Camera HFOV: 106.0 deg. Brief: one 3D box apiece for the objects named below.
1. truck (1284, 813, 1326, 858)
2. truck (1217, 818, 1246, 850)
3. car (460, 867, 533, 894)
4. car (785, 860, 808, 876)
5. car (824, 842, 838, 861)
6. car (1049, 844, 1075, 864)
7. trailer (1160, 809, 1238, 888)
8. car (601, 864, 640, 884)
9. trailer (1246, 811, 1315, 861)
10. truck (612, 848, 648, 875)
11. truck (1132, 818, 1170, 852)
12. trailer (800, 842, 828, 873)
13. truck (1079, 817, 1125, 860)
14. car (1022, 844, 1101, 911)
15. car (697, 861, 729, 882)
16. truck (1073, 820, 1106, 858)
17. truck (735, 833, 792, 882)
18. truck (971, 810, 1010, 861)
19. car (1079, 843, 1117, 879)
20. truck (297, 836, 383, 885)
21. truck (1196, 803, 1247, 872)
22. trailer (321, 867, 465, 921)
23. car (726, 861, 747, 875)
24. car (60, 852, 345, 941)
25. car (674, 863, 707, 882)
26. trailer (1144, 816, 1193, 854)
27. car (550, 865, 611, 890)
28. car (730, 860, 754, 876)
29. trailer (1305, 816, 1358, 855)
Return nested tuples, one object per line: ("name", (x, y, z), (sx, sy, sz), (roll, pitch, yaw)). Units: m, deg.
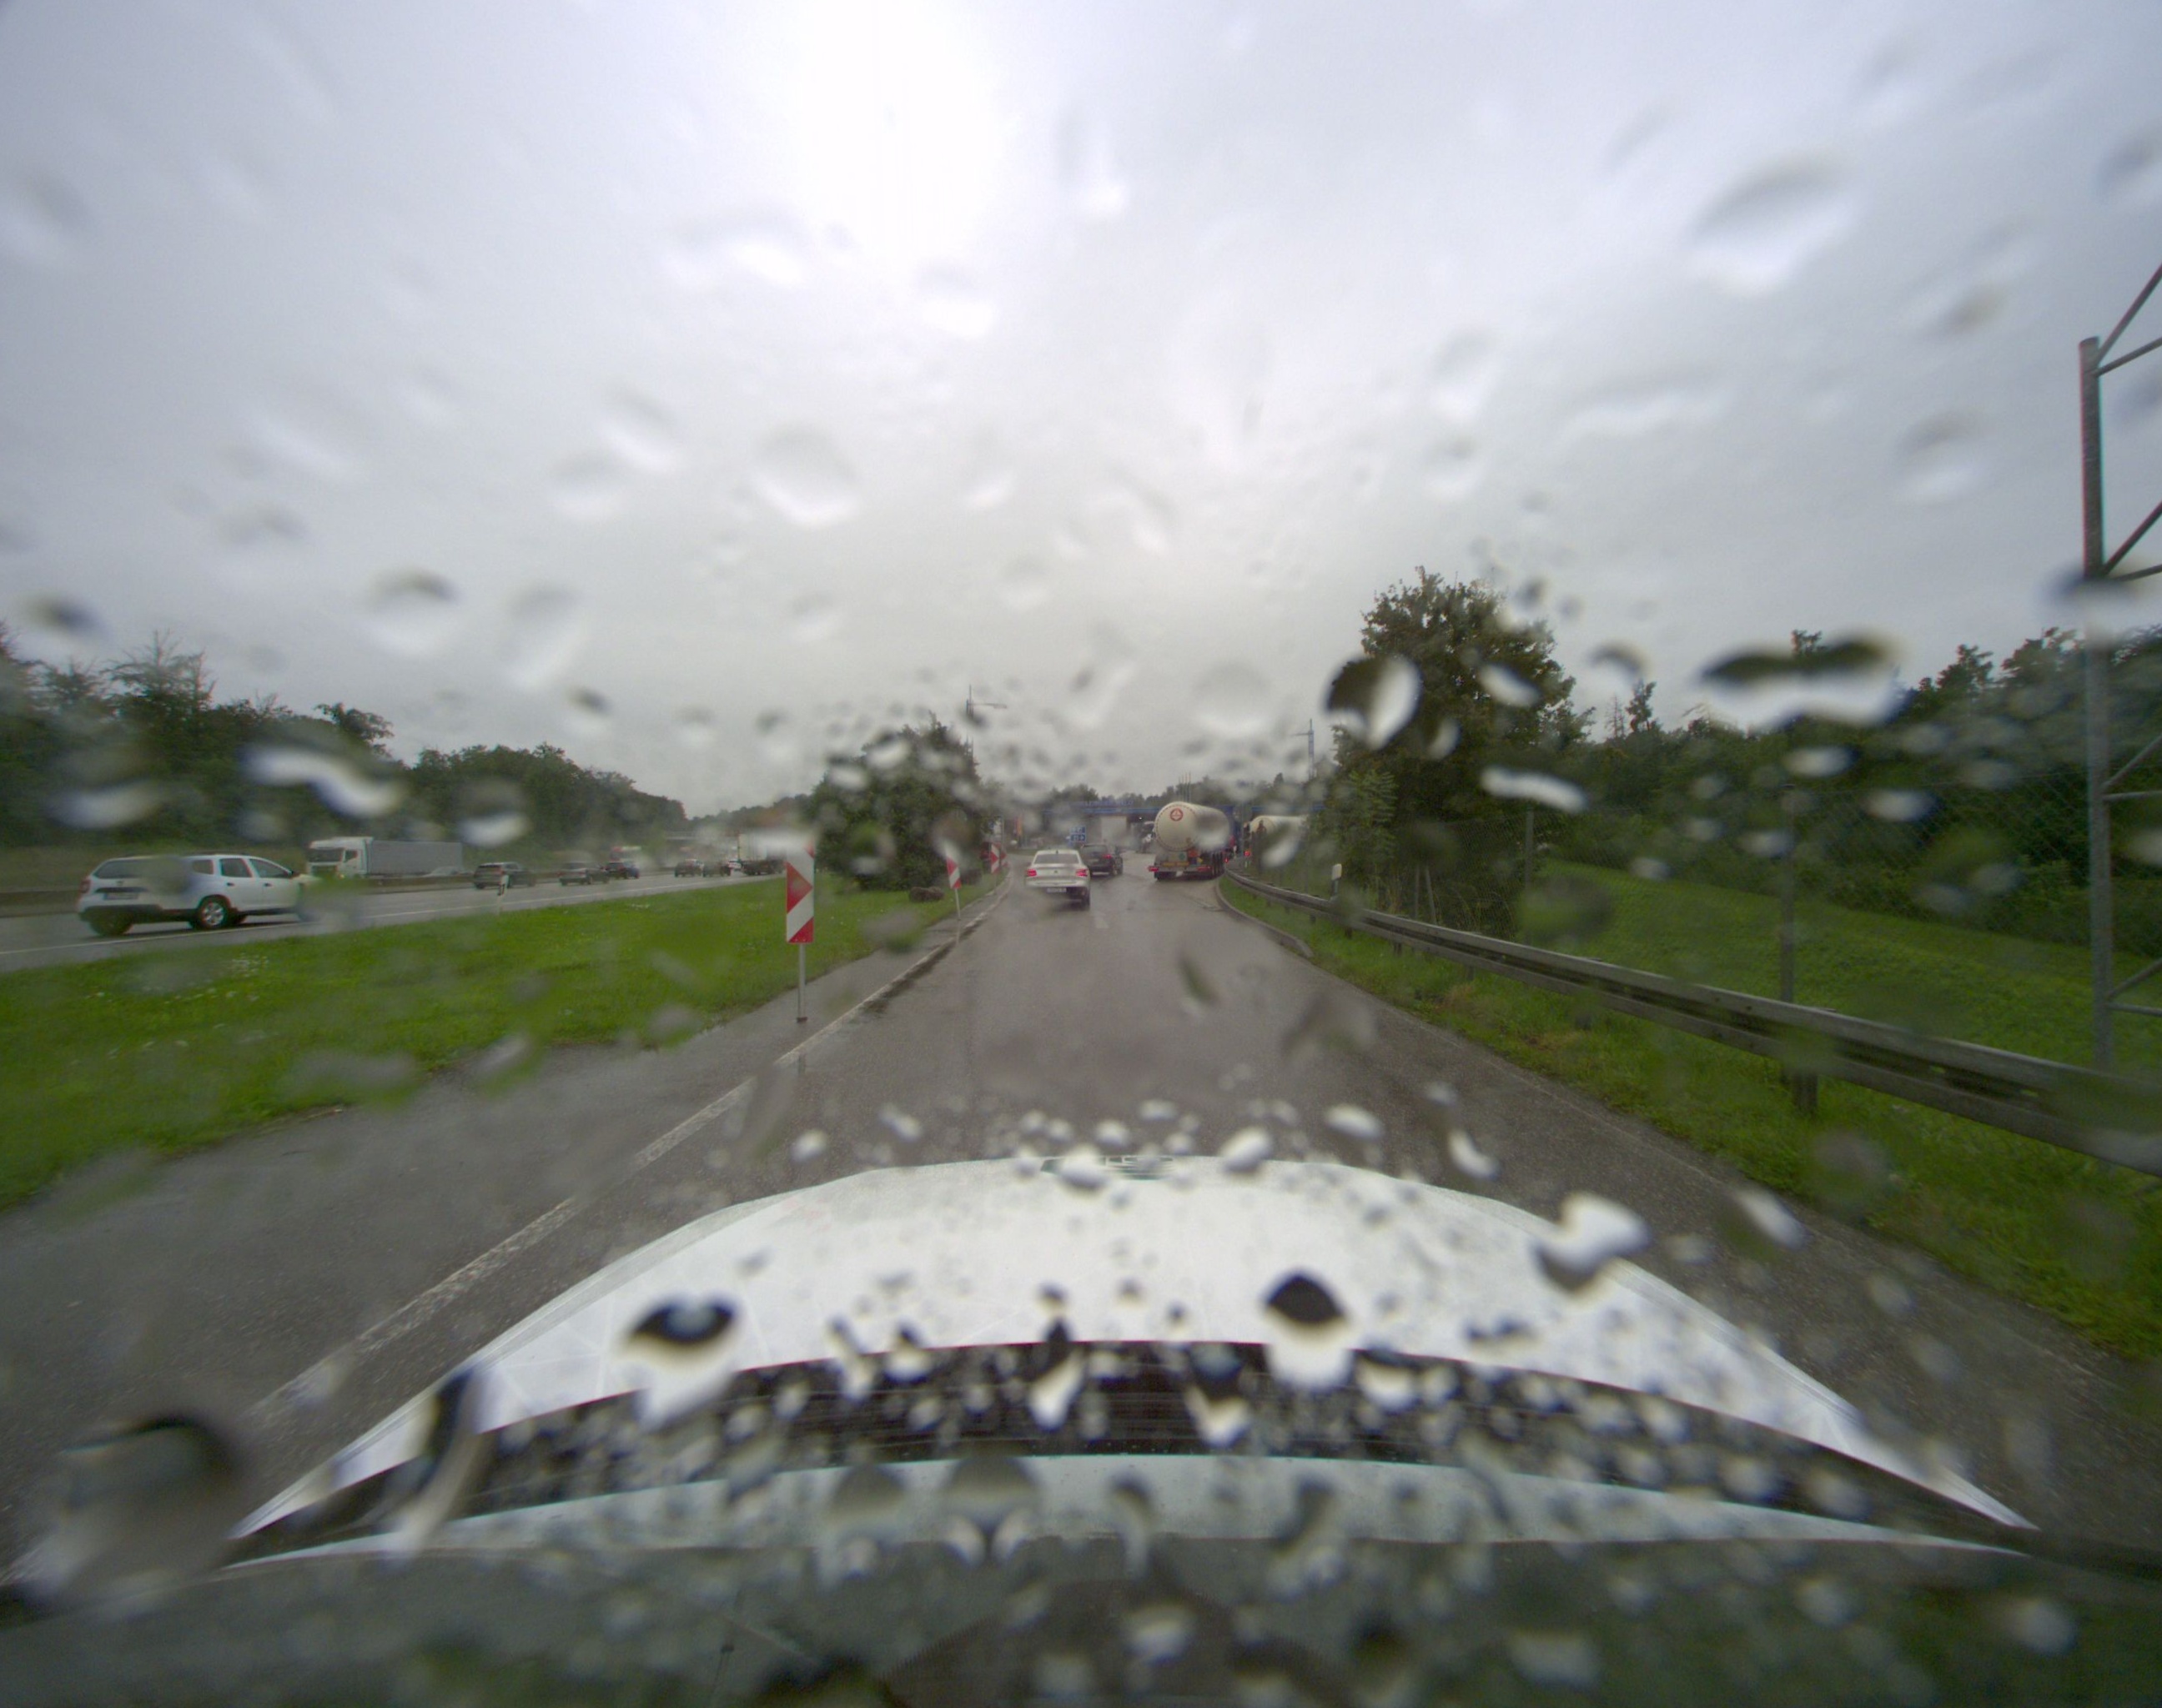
("truck", (18.418, -1.531, 66.946), (2.125, 3.512, 4.675), (-1, 1, 31))
("truck", (18.242, -2.433, 98.728), (2.421, 3.805, 3.994), (-1, 2, -4))
("car", (-36.157, 1.608, 50.545), (1.717, 1.574, 4.448), (-2, 0, -7))
("car", (-34.683, 1.678, 99.247), (1.994, 1.816, 3.985), (2, -1, -11))
("car", (-49.043, -0.457, 159.912), (2.377, 3.485, 4.789), (3, -1, -15))
("car", (-1.438, 0.013, 61.343), (1.874, 1.461, 3.997), (0, 0, -2))
("trailer", (5.753, -0.294, 38.239), (1.965, 3.224, 10.368), (0, 1, 17))
("car", (-41.048, 1.762, 72.705), (1.776, 1.736, 4.085), (-1, 0, -10))
("trailer", (15.206, -1.366, 61.538), (2.111, 3.440, 10.318), (-1, 1, 31))
("truck", (-65.937, 1.040, 119.200), (2.622, 3.669, 5.973), (2, 0, -10))
("truck", (8.859, -2.438, 104.653), (3.231, 4.188, 8.424), (0, 1, -7))
("trailer", (-42.245, 0.540, 129.123), (3.555, 4.612, 12.055), (-1, -1, -15))
("truck", (1.929, -1.553, 81.768), (2.370, 3.873, 12.417), (-1, 1, -9))
("car", (-0.475, 0.621, 22.609), (1.987, 1.679, 4.000), (0, -1, 0))
("car", (-33.372, 1.565, 73.922), (1.776, 1.736, 3.833), (-1, -1, -10))
("truck", (0.880, -1.606, 88.255), (2.370, 3.873, 6.990), (-1, 1, -9))
("truck", (-30.533, 0.419, 78.845), (2.850, 4.292, 11.797), (-2, -1, -11))
("truck", (-7.504, -1.508, 66.788), (2.914, 3.904, 6.298), (-1, 1, -9))
("car", (0.882, 0.390, 40.999), (1.736, 1.667, 4.001), (2, -1, 2))
("truck", (-57.719, 0.441, 63.601), (2.714, 3.534, 4.746), (3, 1, -10))
("truck", (7.738, -0.880, 44.514), (2.036, 3.531, 4.768), (0, 1, 18))
("trailer", (-59.192, 3.286, 70.798), (2.724, 3.538, 14.012), (3, 1, -10))
("car", (-51.542, 2.070, 121.821), (1.994, 2.014, 3.985), (-1, 0, -11))
("car", (-18.347, 0.801, 17.374), (1.785, 1.586, 4.310), (-2, 0, -9))
("car", (-37.595, 1.779, 78.479), (1.776, 1.736, 4.086), (-2, 0, -10))
("trailer", (10.047, -2.208, 94.738), (3.212, 4.188, 11.503), (0, 1, -7))
("car", (-33.404, 1.522, 54.447), (1.787, 1.527, 4.324), (-1, 0, -7))
("car", (-44.469, 1.802, 107.031), (1.994, 2.014, 3.985), (3, -1, -11))
("trailer", (23.220, -1.715, 75.310), (2.161, 3.392, 7.612), (0, 1, 38))
